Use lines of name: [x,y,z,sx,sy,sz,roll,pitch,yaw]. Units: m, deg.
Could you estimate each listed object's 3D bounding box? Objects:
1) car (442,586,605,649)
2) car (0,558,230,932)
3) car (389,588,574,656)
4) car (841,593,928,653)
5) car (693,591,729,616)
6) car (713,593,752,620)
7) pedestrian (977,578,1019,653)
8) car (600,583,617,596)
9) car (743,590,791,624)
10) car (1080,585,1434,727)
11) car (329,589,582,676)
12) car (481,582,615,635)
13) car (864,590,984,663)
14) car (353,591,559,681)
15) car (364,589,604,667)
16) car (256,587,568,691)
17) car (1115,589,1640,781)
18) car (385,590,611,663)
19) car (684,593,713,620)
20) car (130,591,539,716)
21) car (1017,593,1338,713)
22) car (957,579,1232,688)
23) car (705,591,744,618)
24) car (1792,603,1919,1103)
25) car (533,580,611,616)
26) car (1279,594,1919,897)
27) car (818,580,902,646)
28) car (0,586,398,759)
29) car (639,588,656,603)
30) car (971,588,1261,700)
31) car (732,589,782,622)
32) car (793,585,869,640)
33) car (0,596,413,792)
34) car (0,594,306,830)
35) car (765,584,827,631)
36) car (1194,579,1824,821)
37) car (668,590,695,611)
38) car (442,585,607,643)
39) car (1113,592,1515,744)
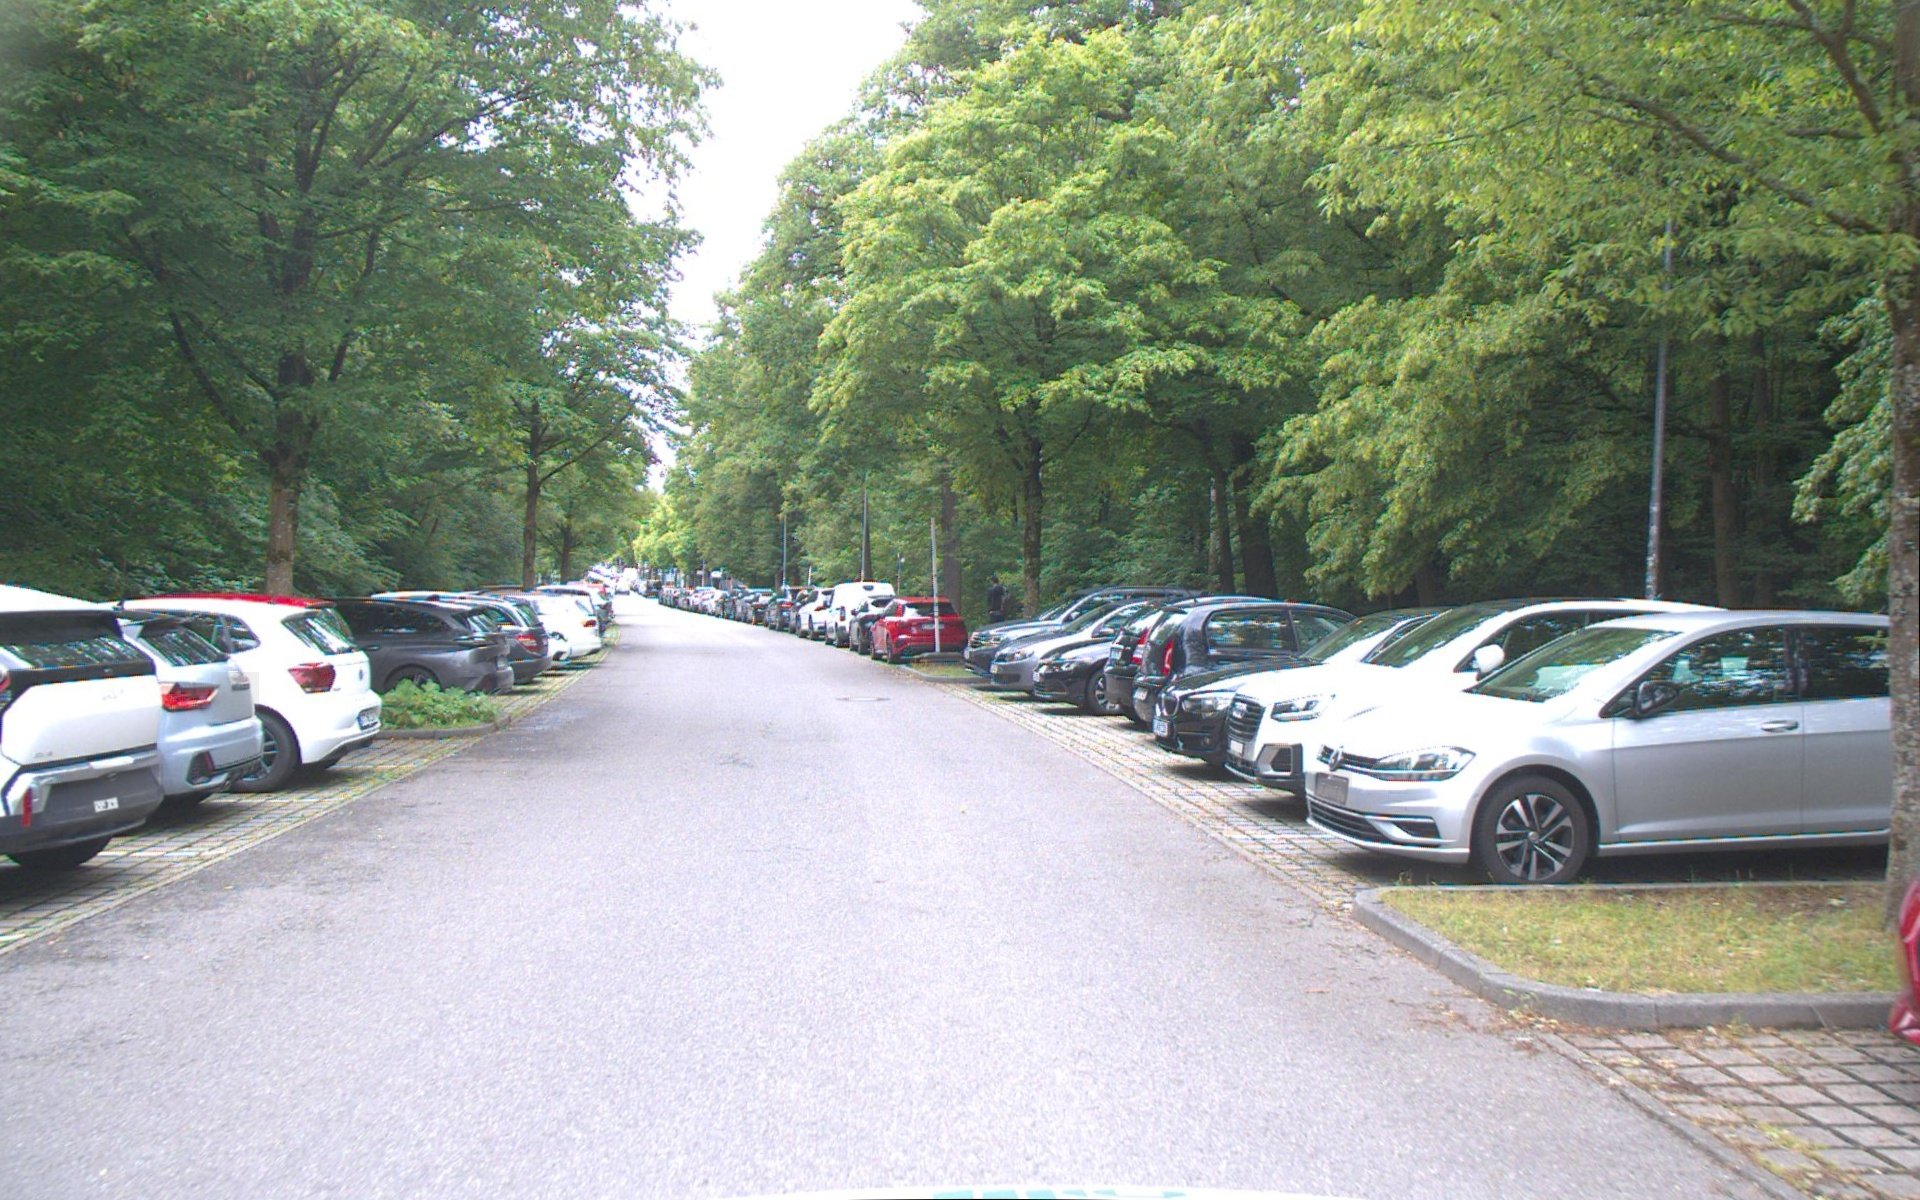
car: [-11.152,0.445,42.522,3.964,1.582,1.913,0,0,-13]
car: [-6.105,0.638,8.418,3.877,1.656,1.999,0,0,3]
car: [-11.471,0.516,39.809,4.166,1.578,1.839,0,0,-16]
car: [-2.003,0.558,42.682,1.694,1.447,4.273,1,0,-10]
car: [-15.716,0.214,104.227,1.695,1.520,3.755,1,0,-18]
car: [-12.633,0.347,91.764,1.639,1.470,3.797,1,0,-16]
pedestrian: [0.901,0.373,39.437,0.803,1.756,1.001,1,0,-11]
car: [-37.870,-1.125,178.440,1.708,1.182,3.402,2,3,-11]
car: [-8.854,0.312,75.702,1.609,1.503,4.135,1,0,-15]
car: [3.439,0.613,19.559,3.755,1.558,1.848,0,0,-8]
car: [-9.157,0.579,30.377,4.290,1.512,1.885,0,0,-13]
car: [-13.567,0.288,54.709,4.149,1.661,2.023,1,0,-12]
car: [-0.893,0.555,37.255,1.957,1.505,4.959,1,0,-10]
car: [-8.477,0.589,28.056,3.161,1.469,1.676,0,0,-11]
car: [-9.429,0.534,33.073,4.485,1.473,2.078,0,0,-14]
car: [-8.277,0.577,25.358,4.184,1.512,2.055,0,0,-7]
car: [3.597,0.704,14.659,4.109,1.538,1.890,1,1,-8]
car: [-9.790,0.546,35.386,4.480,1.512,1.865,0,0,-11]
car: [-17.337,0.412,109.587,1.681,1.758,3.987,1,0,-13]
car: [-7.555,0.629,20.399,4.320,1.449,2.033,0,0,-7]
car: [2.855,0.683,22.225,3.911,1.501,1.949,1,0,-7]
car: [2.169,0.531,27.302,4.186,1.695,1.954,1,0,-9]
car: [-14.079,0.252,98.783,1.904,1.501,3.977,1,0,-14]
car: [4.737,0.778,4.897,3.728,1.466,1.865,1,1,-12]
car: [-20.313,-0.083,86.522,3.922,1.848,2.106,0,0,-16]
car: [4.041,0.759,9.612,3.901,1.509,1.881,1,1,-8]
car: [-2.951,0.337,47.992,1.714,1.811,4.537,1,0,-13]
car: [-7.259,0.638,15.582,3.398,1.507,1.682,0,0,-6]
car: [-34.411,-0.524,181.909,1.600,1.440,3.399,1,3,-14]
car: [2.300,0.636,24.810,3.919,1.579,1.969,1,0,-14]
car: [-10.043,0.261,81.414,1.944,1.564,4.605,1,0,-13]
car: [-4.268,0.381,54.043,1.755,1.691,4.701,1,0,-13]
car: [-6.516,0.700,13.315,3.654,1.444,1.870,0,0,-5]
car: [-6.558,0.688,11.041,3.732,1.446,1.893,0,0,-9]
car: [-6.528,0.276,65.372,1.857,1.777,4.932,1,0,-13]
car: [3.866,0.675,12.143,3.929,1.586,1.976,1,1,-4]
car: [-21.677,0.010,128.651,1.887,1.547,3.875,1,0,-12]
car: [-12.403,0.397,47.365,4.435,1.612,1.921,0,0,-12]
car: [3.624,0.667,17.328,3.753,1.483,1.806,0,0,-6]
